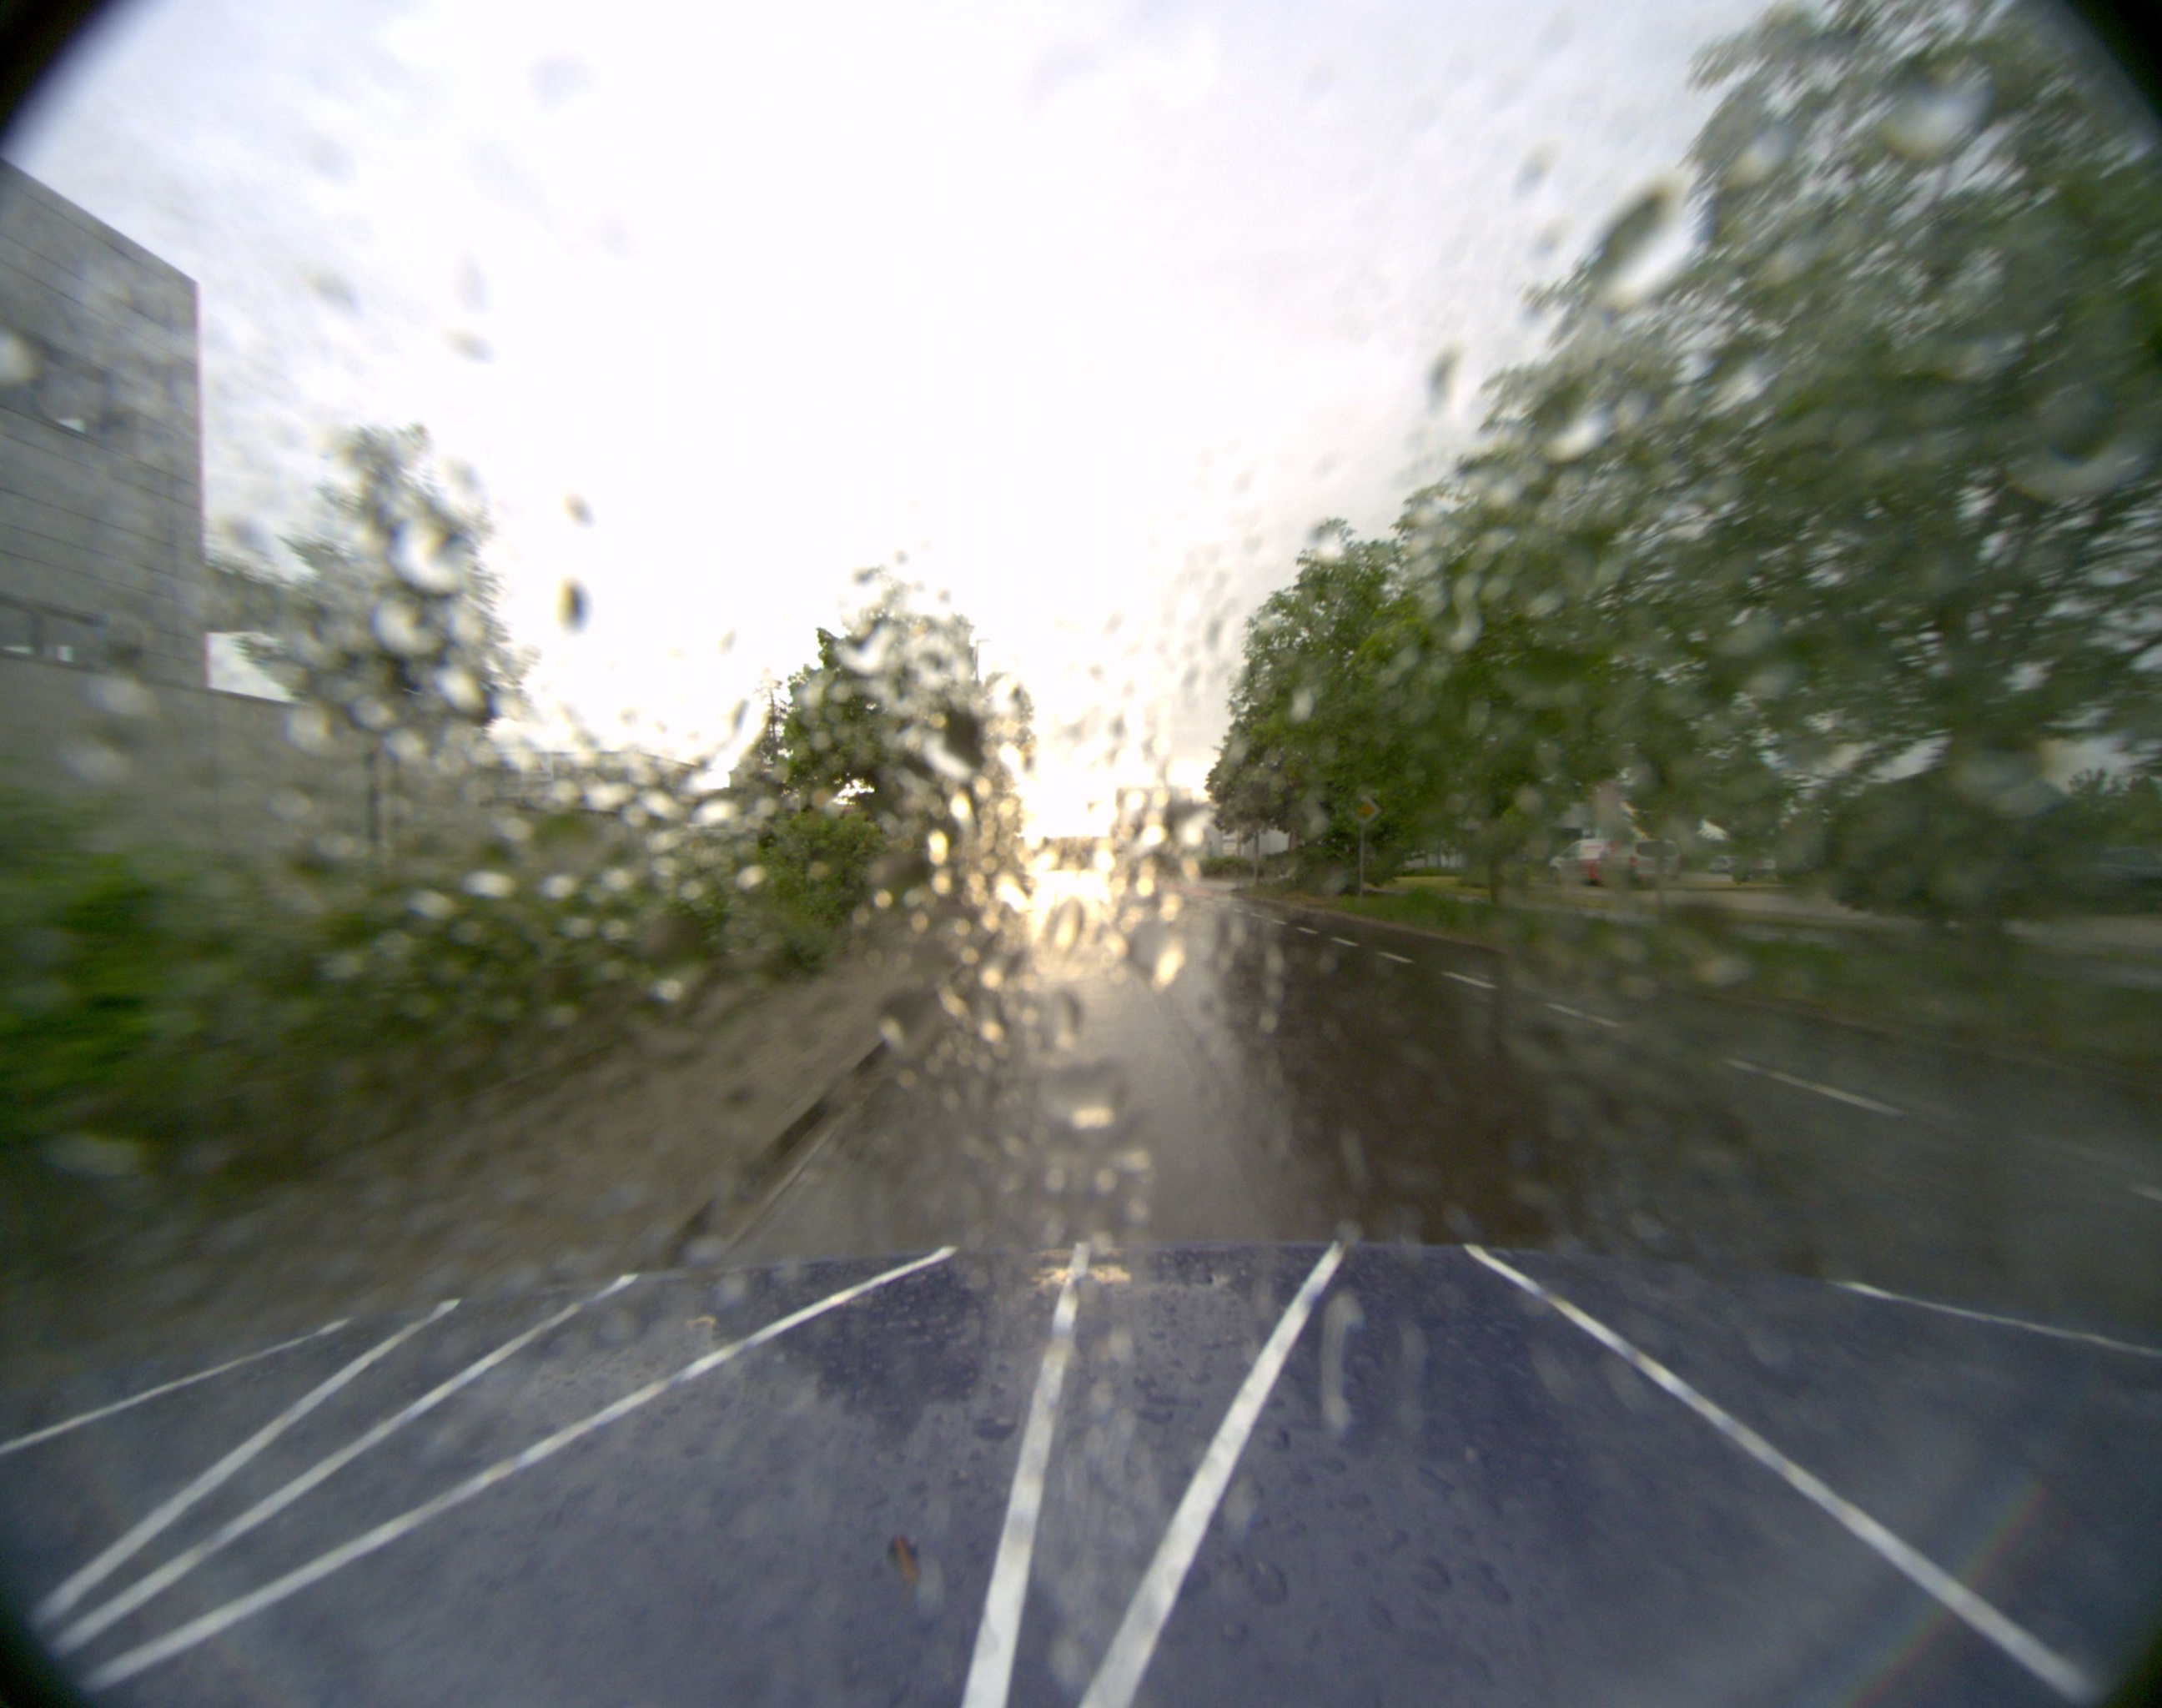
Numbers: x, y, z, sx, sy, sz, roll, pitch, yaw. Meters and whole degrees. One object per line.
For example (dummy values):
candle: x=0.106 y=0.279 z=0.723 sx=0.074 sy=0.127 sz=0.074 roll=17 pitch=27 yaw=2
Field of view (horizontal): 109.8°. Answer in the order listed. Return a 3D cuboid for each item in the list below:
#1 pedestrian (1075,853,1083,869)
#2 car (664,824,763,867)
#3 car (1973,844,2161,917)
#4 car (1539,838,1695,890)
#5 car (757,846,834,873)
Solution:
pedestrian: x=-0.233 y=0.810 z=84.807 sx=0.747 sy=1.827 sz=0.889 roll=0 pitch=0 yaw=-8
car: x=-21.571 y=-0.492 z=44.673 sx=4.912 sy=2.423 sz=2.001 roll=-1 pitch=0 yaw=6
car: x=24.659 y=0.586 z=18.055 sx=4.161 sy=1.547 sz=2.122 roll=-1 pitch=1 yaw=6
car: x=20.775 y=0.391 z=29.851 sx=2.039 sy=1.811 sz=5.609 roll=-2 pitch=-1 yaw=-1
car: x=-16.769 y=0.317 z=44.744 sx=3.891 sy=1.490 sz=1.768 roll=0 pitch=0 yaw=-1
